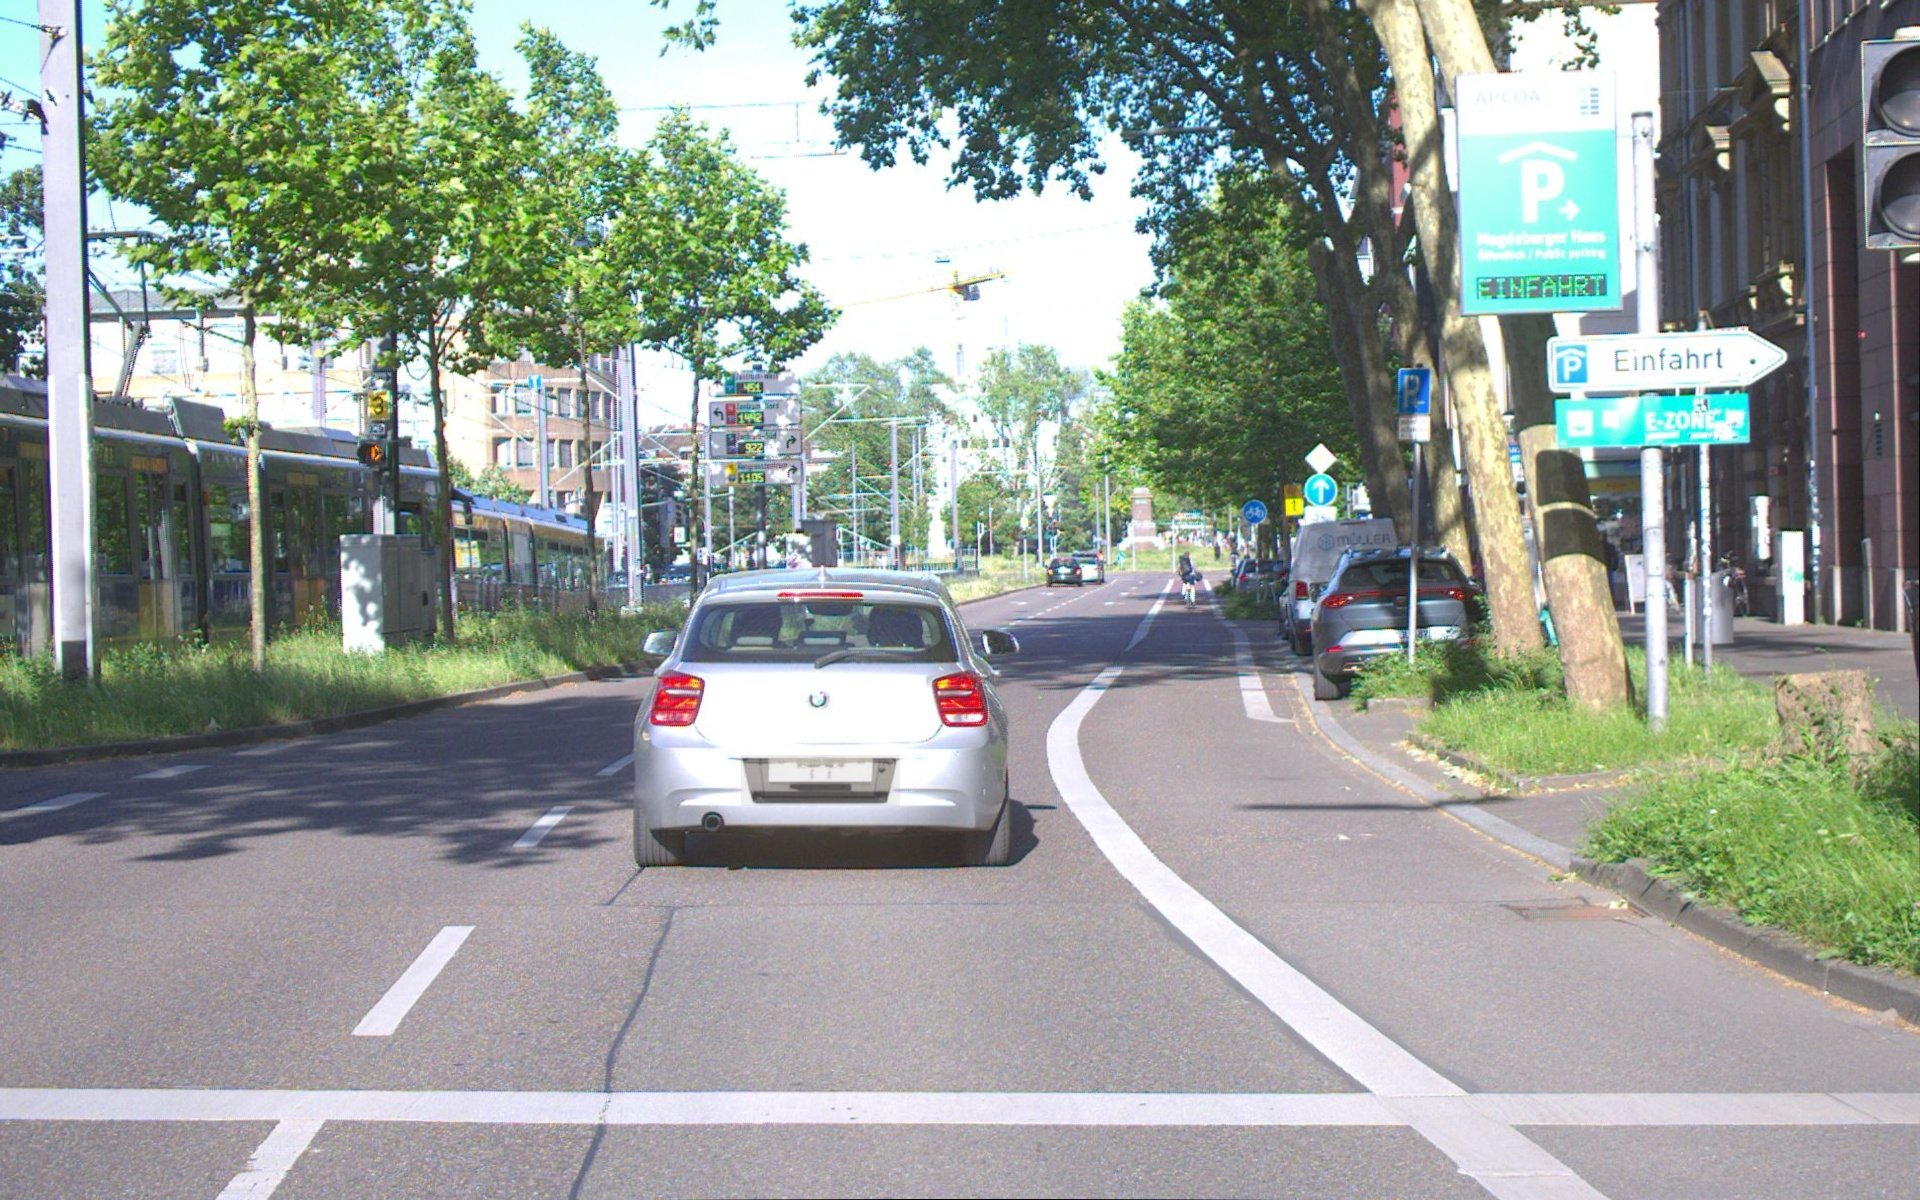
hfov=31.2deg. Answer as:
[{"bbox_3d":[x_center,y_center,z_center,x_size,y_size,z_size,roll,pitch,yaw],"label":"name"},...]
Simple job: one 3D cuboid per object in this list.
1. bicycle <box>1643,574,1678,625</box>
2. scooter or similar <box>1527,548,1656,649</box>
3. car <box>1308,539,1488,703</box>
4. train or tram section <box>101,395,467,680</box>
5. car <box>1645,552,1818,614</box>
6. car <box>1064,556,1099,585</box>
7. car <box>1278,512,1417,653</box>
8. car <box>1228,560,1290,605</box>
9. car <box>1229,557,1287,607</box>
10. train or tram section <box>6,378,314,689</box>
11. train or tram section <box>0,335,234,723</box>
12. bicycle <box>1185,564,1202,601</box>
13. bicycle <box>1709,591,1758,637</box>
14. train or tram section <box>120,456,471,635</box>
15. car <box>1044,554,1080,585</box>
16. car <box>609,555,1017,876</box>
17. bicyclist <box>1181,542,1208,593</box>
[{"bbox_3d":[13.744,-0.017,67.517,0.414,0.994,1.882,0,0,4],"label":"bicycle"},{"bbox_3d":[7.930,-0.020,43.213,1.541,1.233,0.449,-1,1,5],"label":"scooter or similar"},{"bbox_3d":[4.454,0.190,35.385,1.668,1.565,4.279,1,0,5],"label":"car"},{"bbox_3d":[-10.073,-0.884,52.685,2.953,3.884,10.801,1,0,3],"label":"train or tram section"},{"bbox_3d":[18.563,-0.401,82.828,3.940,1.469,1.665,0,0,8],"label":"car"},{"bbox_3d":[6.180,-1.496,174.871,1.644,1.416,3.999,0,0,4],"label":"car"},{"bbox_3d":[5.812,-0.260,52.014,1.856,2.007,4.723,1,0,4],"label":"car"},{"bbox_3d":[10.258,-0.620,118.167,2.039,1.504,4.593,-1,1,4],"label":"car"},{"bbox_3d":[9.580,-0.587,110.604,1.695,1.497,3.801,-3,1,4],"label":"car"},{"bbox_3d":[-10.465,-0.851,45.318,2.955,3.884,3.865,1,0,3],"label":"train or tram section"},{"bbox_3d":[-10.816,-0.722,36.235,2.929,3.799,14.273,1,0,1],"label":"train or tram section"},{"bbox_3d":[7.080,-0.531,104.060,0.499,1.085,1.997,1,0,4],"label":"bicycle"},{"bbox_3d":[13.511,0.235,60.077,0.549,0.771,1.662,-3,0,4],"label":"bicycle"},{"bbox_3d":[-14.432,-1.172,77.408,2.964,3.472,21.216,0,1,2],"label":"train or tram section"},{"bbox_3d":[4.948,-1.466,166.832,1.726,1.465,4.410,0,0,1],"label":"car"},{"bbox_3d":[-0.703,0.506,17.337,1.798,1.410,4.000,1,0,-1],"label":"car"},{"bbox_3d":[7.096,-0.992,104.130,0.785,1.526,0.895,1,0,4],"label":"bicyclist"}]
